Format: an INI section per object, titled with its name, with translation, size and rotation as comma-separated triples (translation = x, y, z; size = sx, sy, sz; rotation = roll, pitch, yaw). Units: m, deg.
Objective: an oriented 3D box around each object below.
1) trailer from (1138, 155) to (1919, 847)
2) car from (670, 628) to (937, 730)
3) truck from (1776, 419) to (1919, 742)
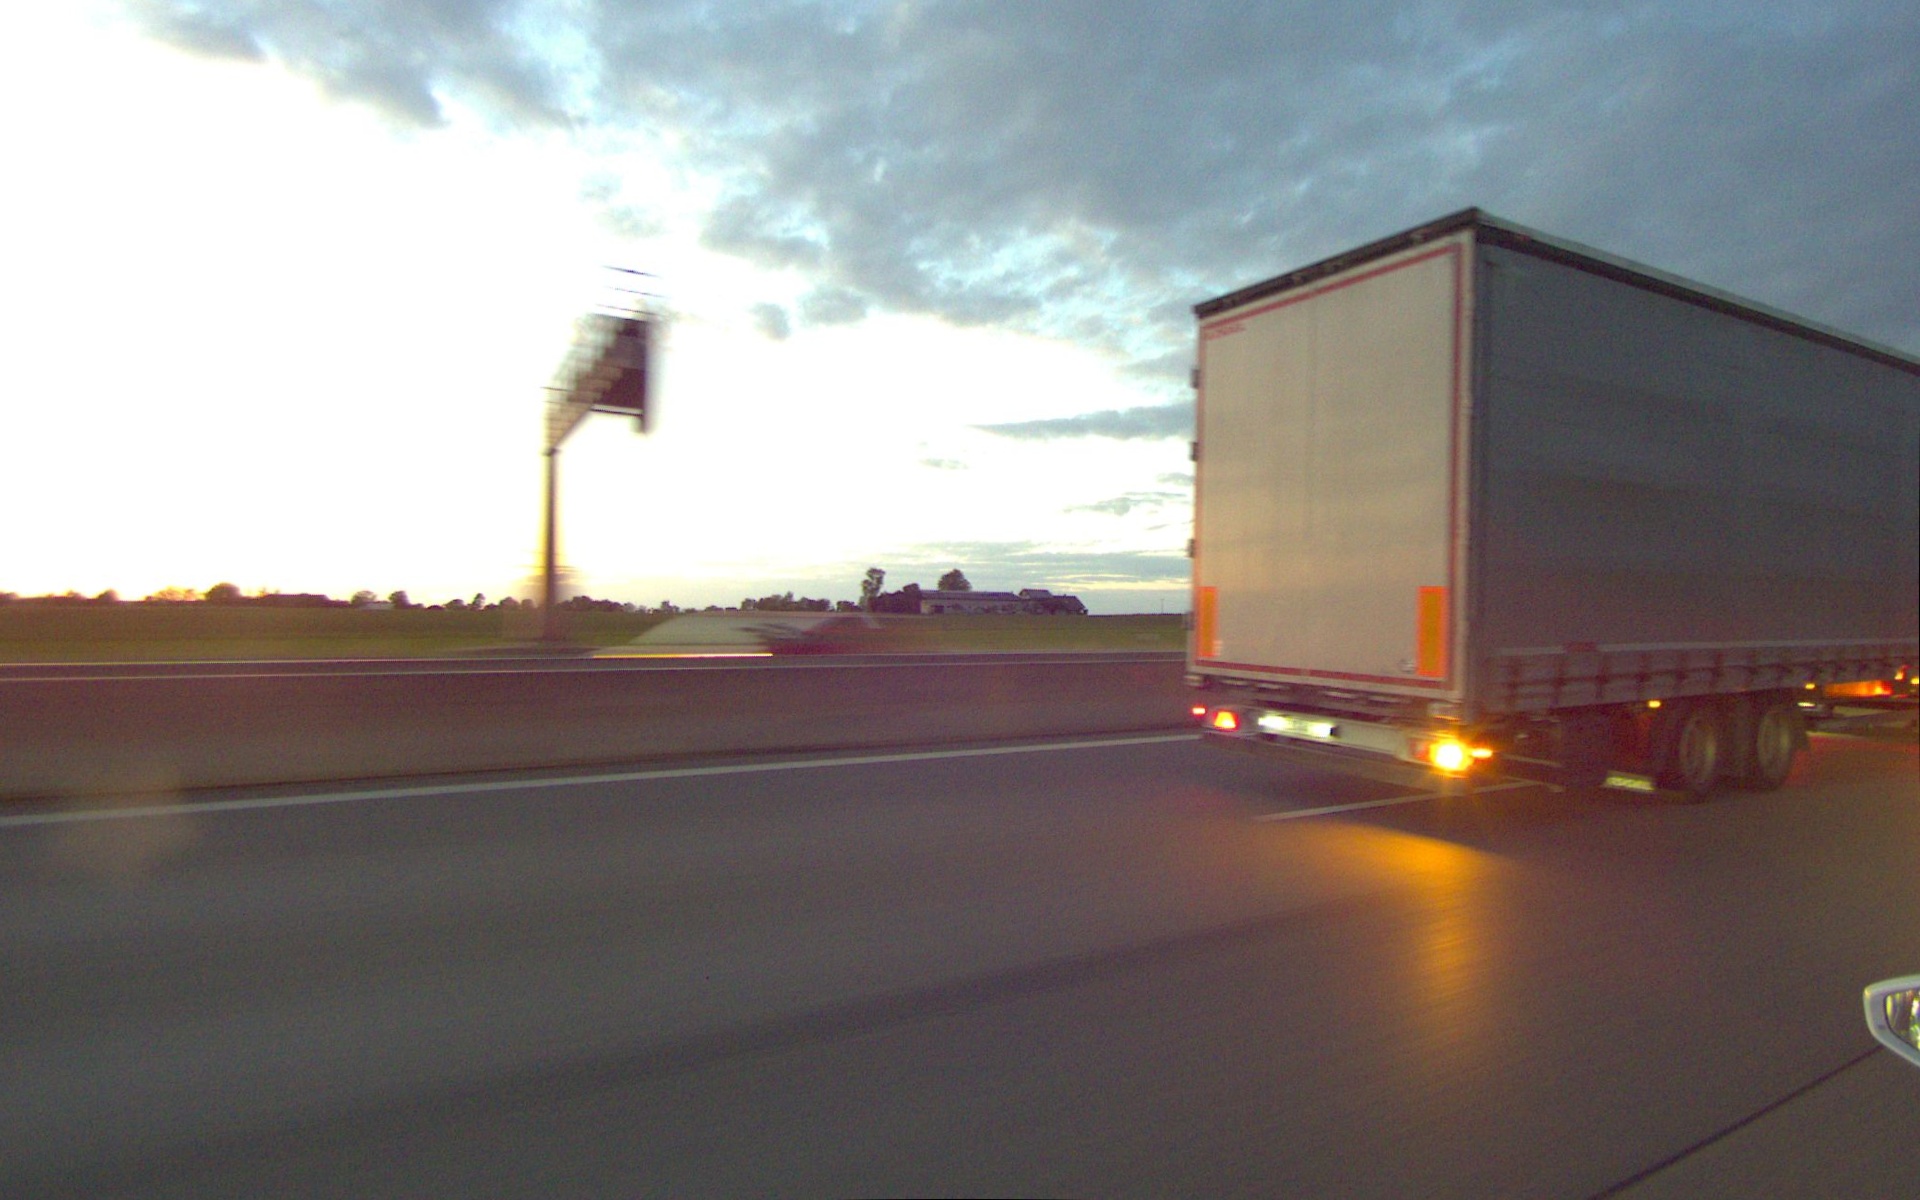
[trailer]
translation = 8.419, -0.360, 10.798
size = 14.353, 4.139, 2.781
rotation = 2, -1, -30
[car]
translation = -2.469, 1.209, 16.060
size = 3.855, 1.388, 1.724
rotation = 2, 0, -30
[truck]
translation = 14.850, -0.159, 14.511
size = 6.030, 4.147, 2.765
rotation = 2, -1, -30
